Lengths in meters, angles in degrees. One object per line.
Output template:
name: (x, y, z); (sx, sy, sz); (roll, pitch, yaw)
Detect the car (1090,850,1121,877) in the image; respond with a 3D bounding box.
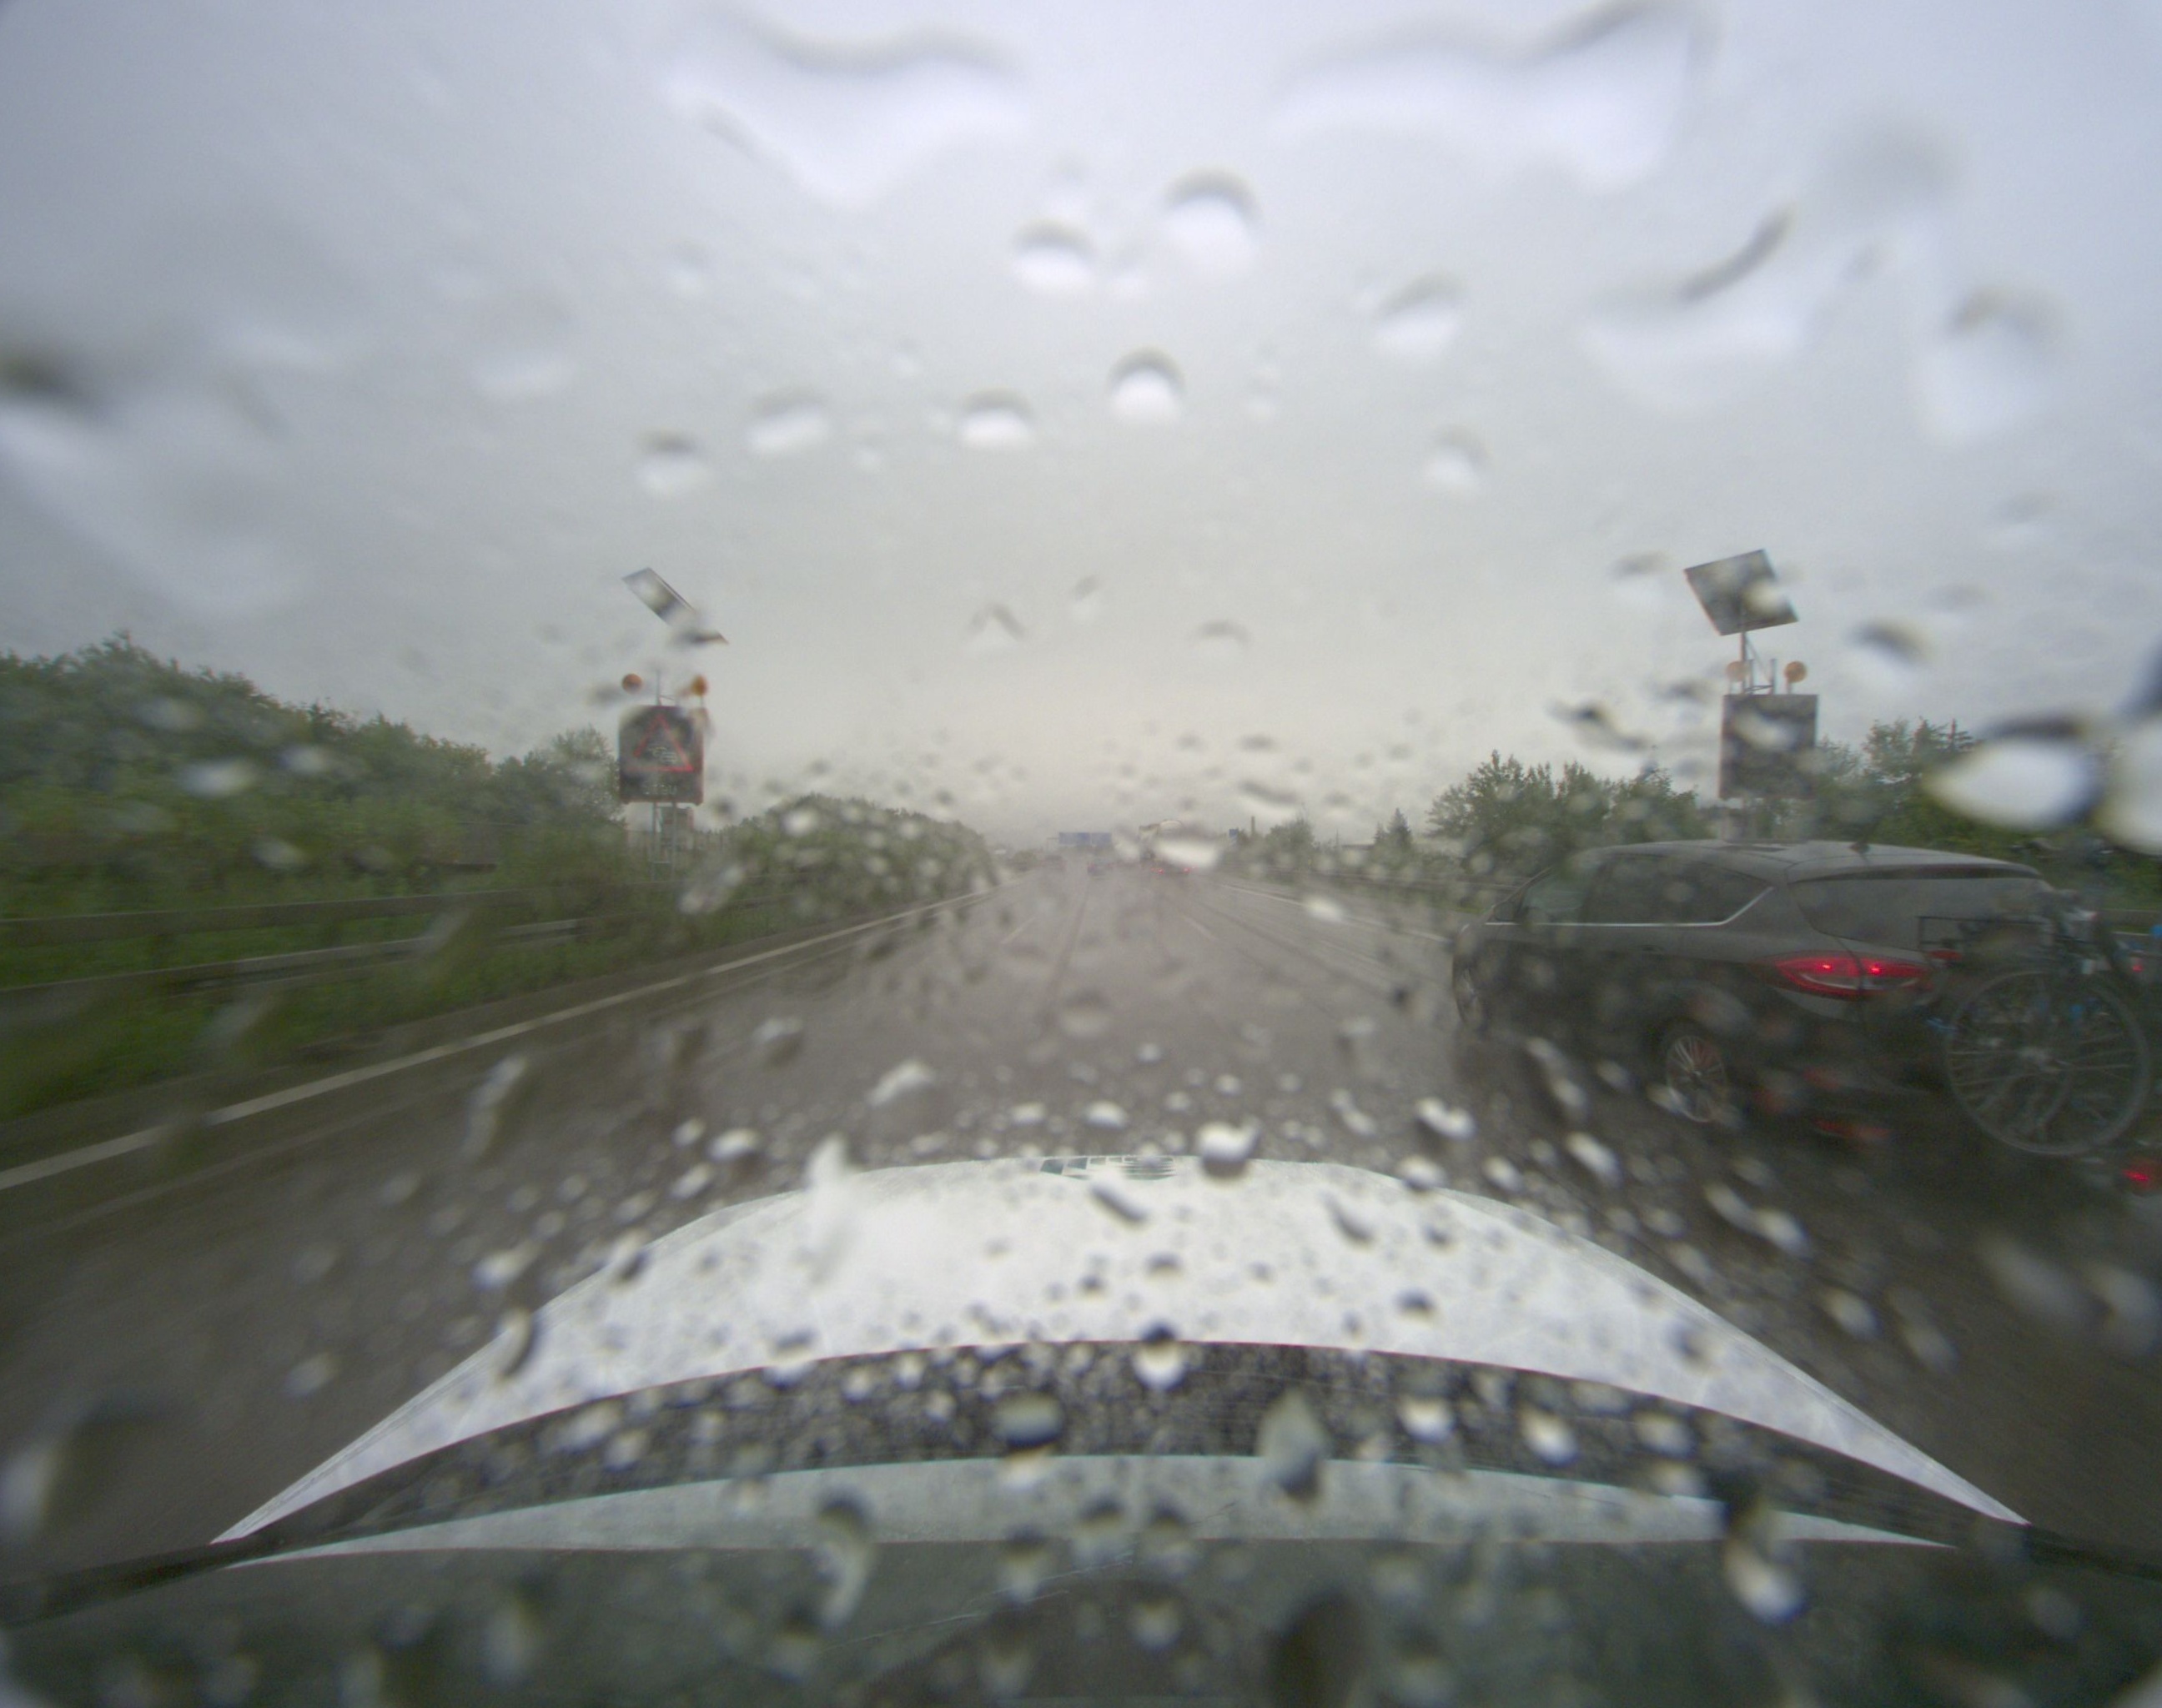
car: (1.739, 0.635, 56.643); (1.970, 1.756, 4.485); (-1, 0, 3)

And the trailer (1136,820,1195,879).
trailer: (5.639, -0.296, 56.395); (3.176, 3.670, 11.671); (-1, 0, 2)

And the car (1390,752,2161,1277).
car: (4.340, 0.529, 5.560); (2.448, 1.746, 5.721); (-1, 0, 2)

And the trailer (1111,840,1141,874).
trailer: (5.387, 0.342, 98.307); (2.996, 3.848, 8.618); (0, 0, -1)

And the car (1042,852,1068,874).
car: (-2.080, 0.711, 66.668); (1.919, 1.741, 4.404); (-1, 0, 1)

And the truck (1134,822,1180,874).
truck: (5.803, -0.423, 63.588); (3.093, 3.806, 7.214); (-1, 0, 1)
